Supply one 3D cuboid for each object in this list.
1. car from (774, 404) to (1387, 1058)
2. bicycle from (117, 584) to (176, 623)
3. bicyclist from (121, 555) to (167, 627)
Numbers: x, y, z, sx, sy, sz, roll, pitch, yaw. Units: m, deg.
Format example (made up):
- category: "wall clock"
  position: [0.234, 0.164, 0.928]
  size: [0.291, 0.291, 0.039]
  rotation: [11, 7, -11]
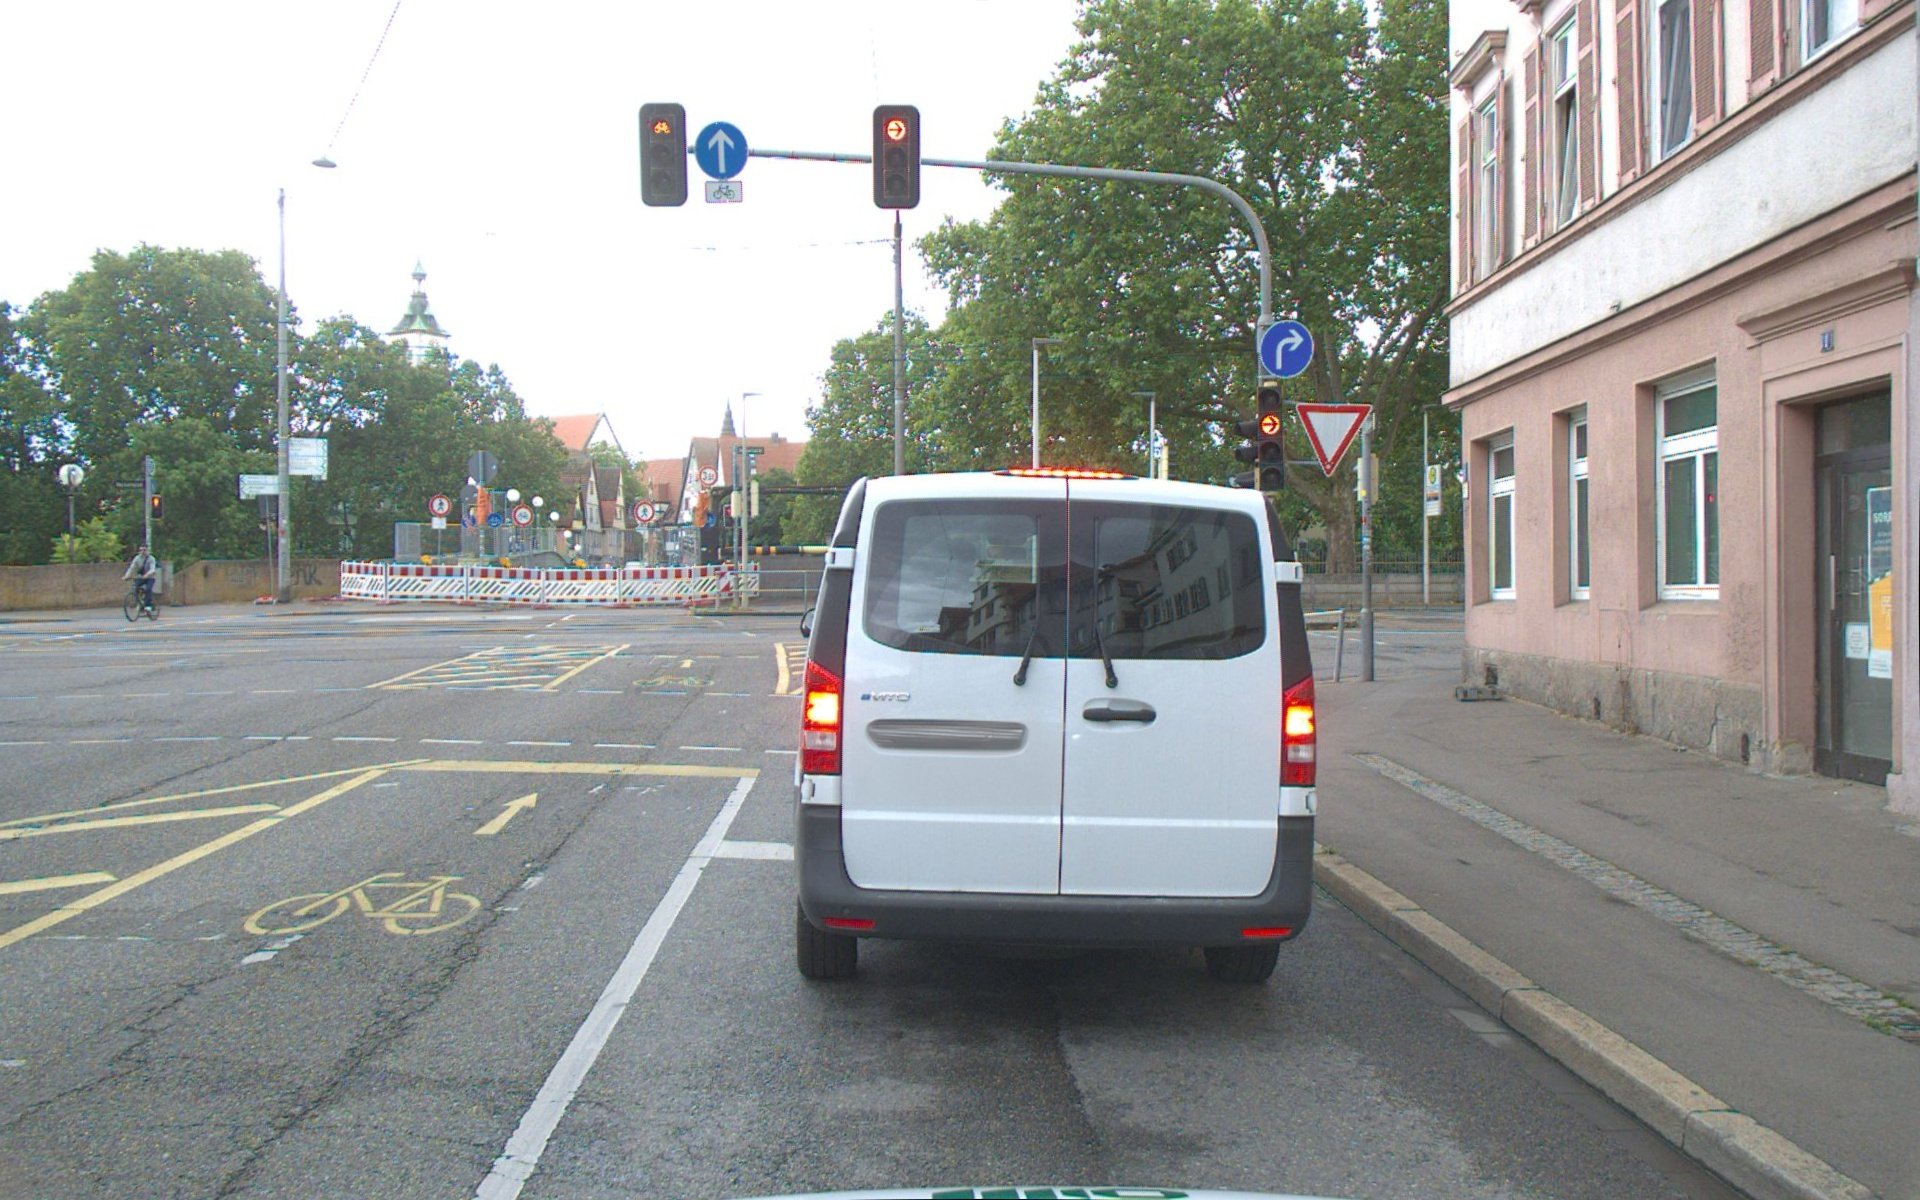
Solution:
- category: "car"
  position: [0.349, 0.357, 7.593]
  size: [1.911, 2.048, 4.698]
  rotation: [1, 2, -1]
- category: "bicycle"
  position: [-19.673, 0.070, 40.020]
  size: [0.530, 0.908, 1.880]
  rotation: [0, 1, -1]
- category: "bicyclist"
  position: [-19.678, -0.221, 39.877]
  size: [0.709, 1.730, 0.810]
  rotation: [0, 0, -3]
